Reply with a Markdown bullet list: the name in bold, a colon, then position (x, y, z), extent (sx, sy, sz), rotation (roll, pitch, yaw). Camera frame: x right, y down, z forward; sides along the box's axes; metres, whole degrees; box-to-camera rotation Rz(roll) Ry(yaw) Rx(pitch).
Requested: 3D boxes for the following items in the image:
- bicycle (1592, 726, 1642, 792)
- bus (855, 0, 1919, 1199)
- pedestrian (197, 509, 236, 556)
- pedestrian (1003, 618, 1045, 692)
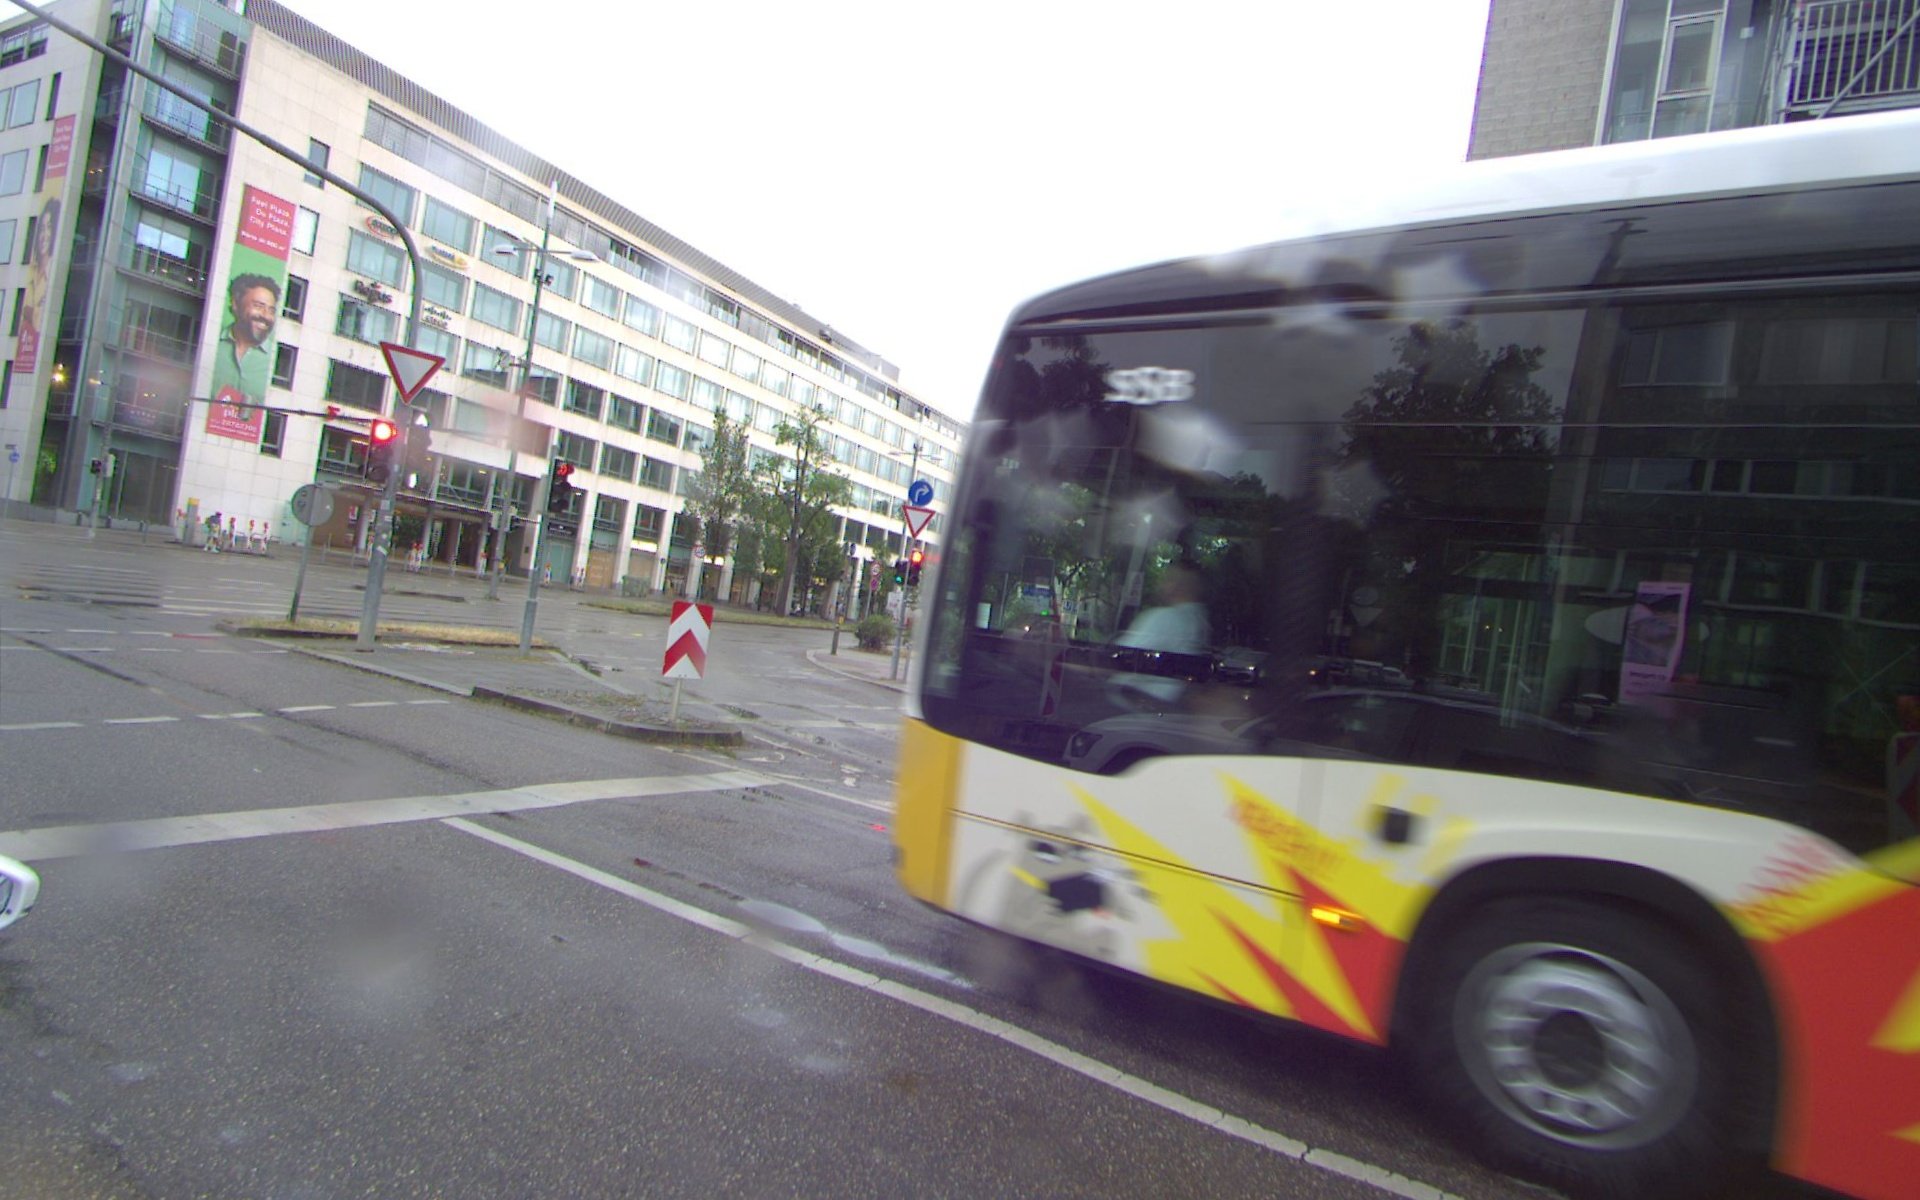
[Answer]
- **bicycle**: position (13.704, 3.290, 21.013), extent (0.576, 1.208, 1.614), rotation (7, -2, 27)
- **bus**: position (4.552, 0.424, 2.984), extent (9.596, 3.490, 2.888), rotation (6, -2, 32)
- **pedestrian**: position (-32.141, -2.920, 43.488), extent (0.822, 1.838, 0.963), rotation (6, -1, 31)
- **pedestrian**: position (1.665, 1.438, 26.234), extent (0.776, 1.796, 0.781), rotation (7, -1, 13)
